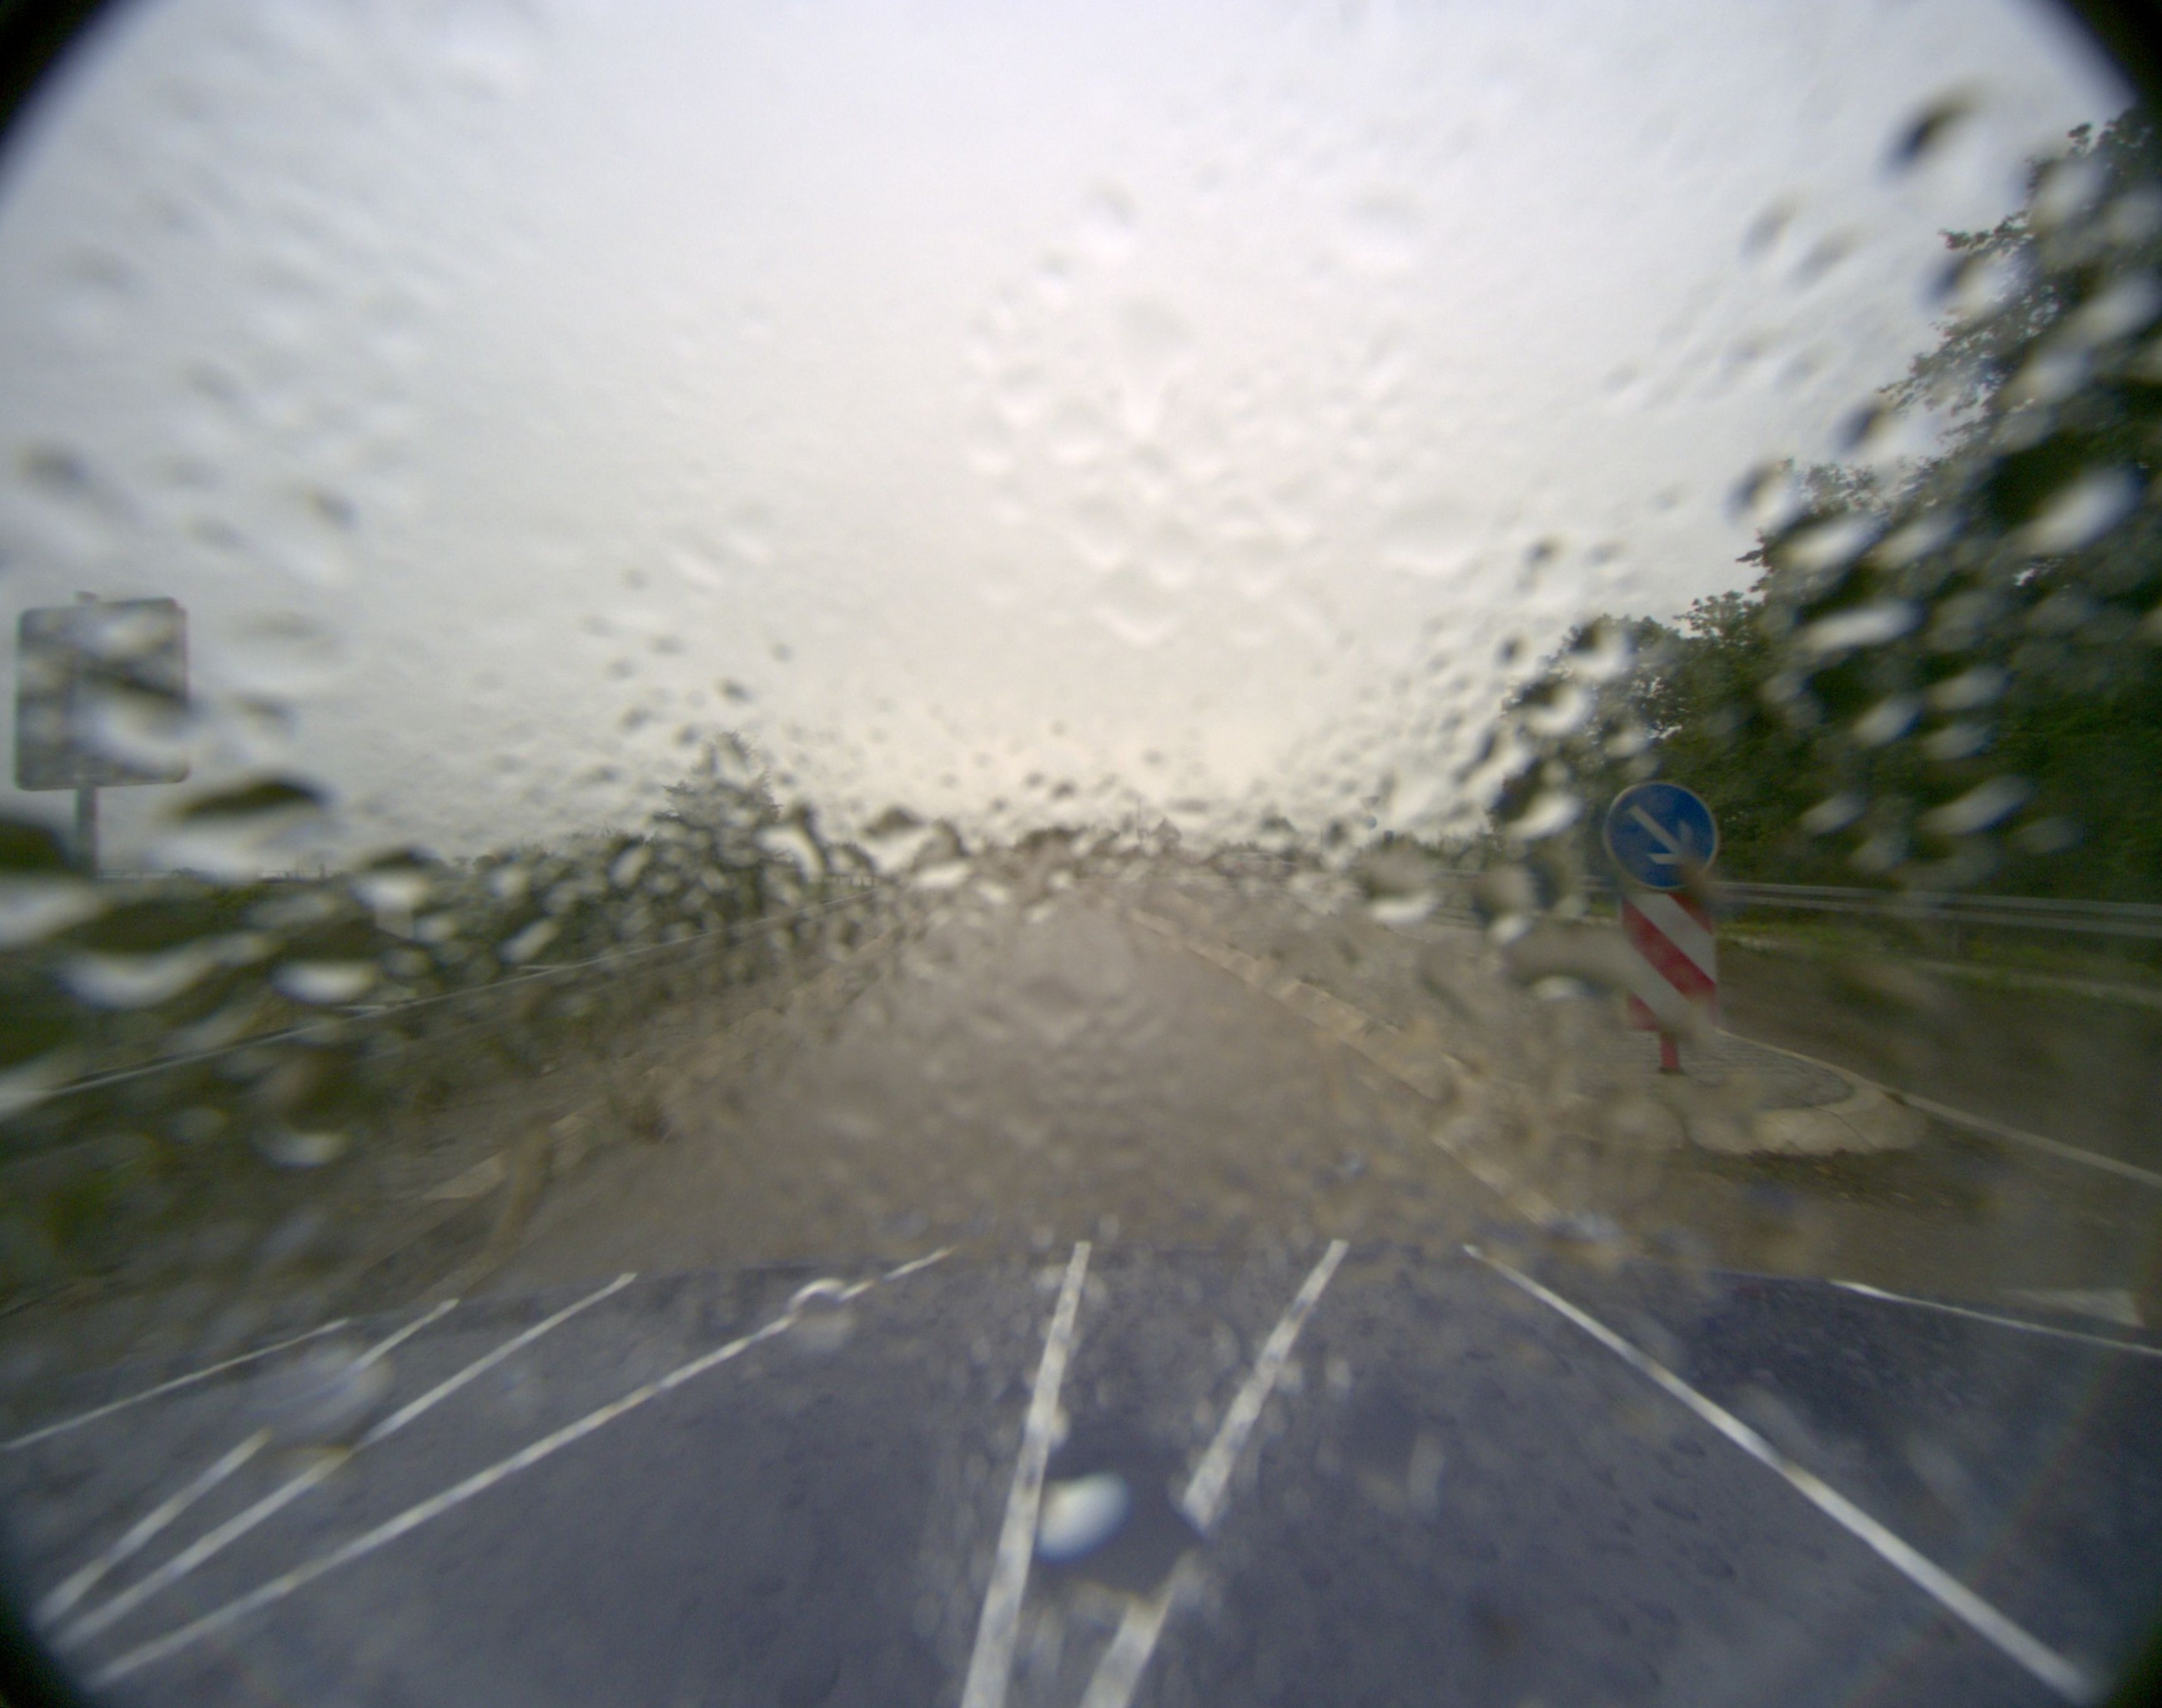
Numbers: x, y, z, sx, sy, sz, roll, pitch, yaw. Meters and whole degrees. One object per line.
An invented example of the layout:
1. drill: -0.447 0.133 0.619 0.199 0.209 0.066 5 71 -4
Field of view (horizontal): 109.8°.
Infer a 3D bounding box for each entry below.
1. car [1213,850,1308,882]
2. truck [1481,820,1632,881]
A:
1. car: 9.359 0.588 39.588 4.570 1.361 1.906 -3 2 -25
2. truck: 31.996 -0.146 51.215 8.824 3.827 3.048 1 -3 -11
